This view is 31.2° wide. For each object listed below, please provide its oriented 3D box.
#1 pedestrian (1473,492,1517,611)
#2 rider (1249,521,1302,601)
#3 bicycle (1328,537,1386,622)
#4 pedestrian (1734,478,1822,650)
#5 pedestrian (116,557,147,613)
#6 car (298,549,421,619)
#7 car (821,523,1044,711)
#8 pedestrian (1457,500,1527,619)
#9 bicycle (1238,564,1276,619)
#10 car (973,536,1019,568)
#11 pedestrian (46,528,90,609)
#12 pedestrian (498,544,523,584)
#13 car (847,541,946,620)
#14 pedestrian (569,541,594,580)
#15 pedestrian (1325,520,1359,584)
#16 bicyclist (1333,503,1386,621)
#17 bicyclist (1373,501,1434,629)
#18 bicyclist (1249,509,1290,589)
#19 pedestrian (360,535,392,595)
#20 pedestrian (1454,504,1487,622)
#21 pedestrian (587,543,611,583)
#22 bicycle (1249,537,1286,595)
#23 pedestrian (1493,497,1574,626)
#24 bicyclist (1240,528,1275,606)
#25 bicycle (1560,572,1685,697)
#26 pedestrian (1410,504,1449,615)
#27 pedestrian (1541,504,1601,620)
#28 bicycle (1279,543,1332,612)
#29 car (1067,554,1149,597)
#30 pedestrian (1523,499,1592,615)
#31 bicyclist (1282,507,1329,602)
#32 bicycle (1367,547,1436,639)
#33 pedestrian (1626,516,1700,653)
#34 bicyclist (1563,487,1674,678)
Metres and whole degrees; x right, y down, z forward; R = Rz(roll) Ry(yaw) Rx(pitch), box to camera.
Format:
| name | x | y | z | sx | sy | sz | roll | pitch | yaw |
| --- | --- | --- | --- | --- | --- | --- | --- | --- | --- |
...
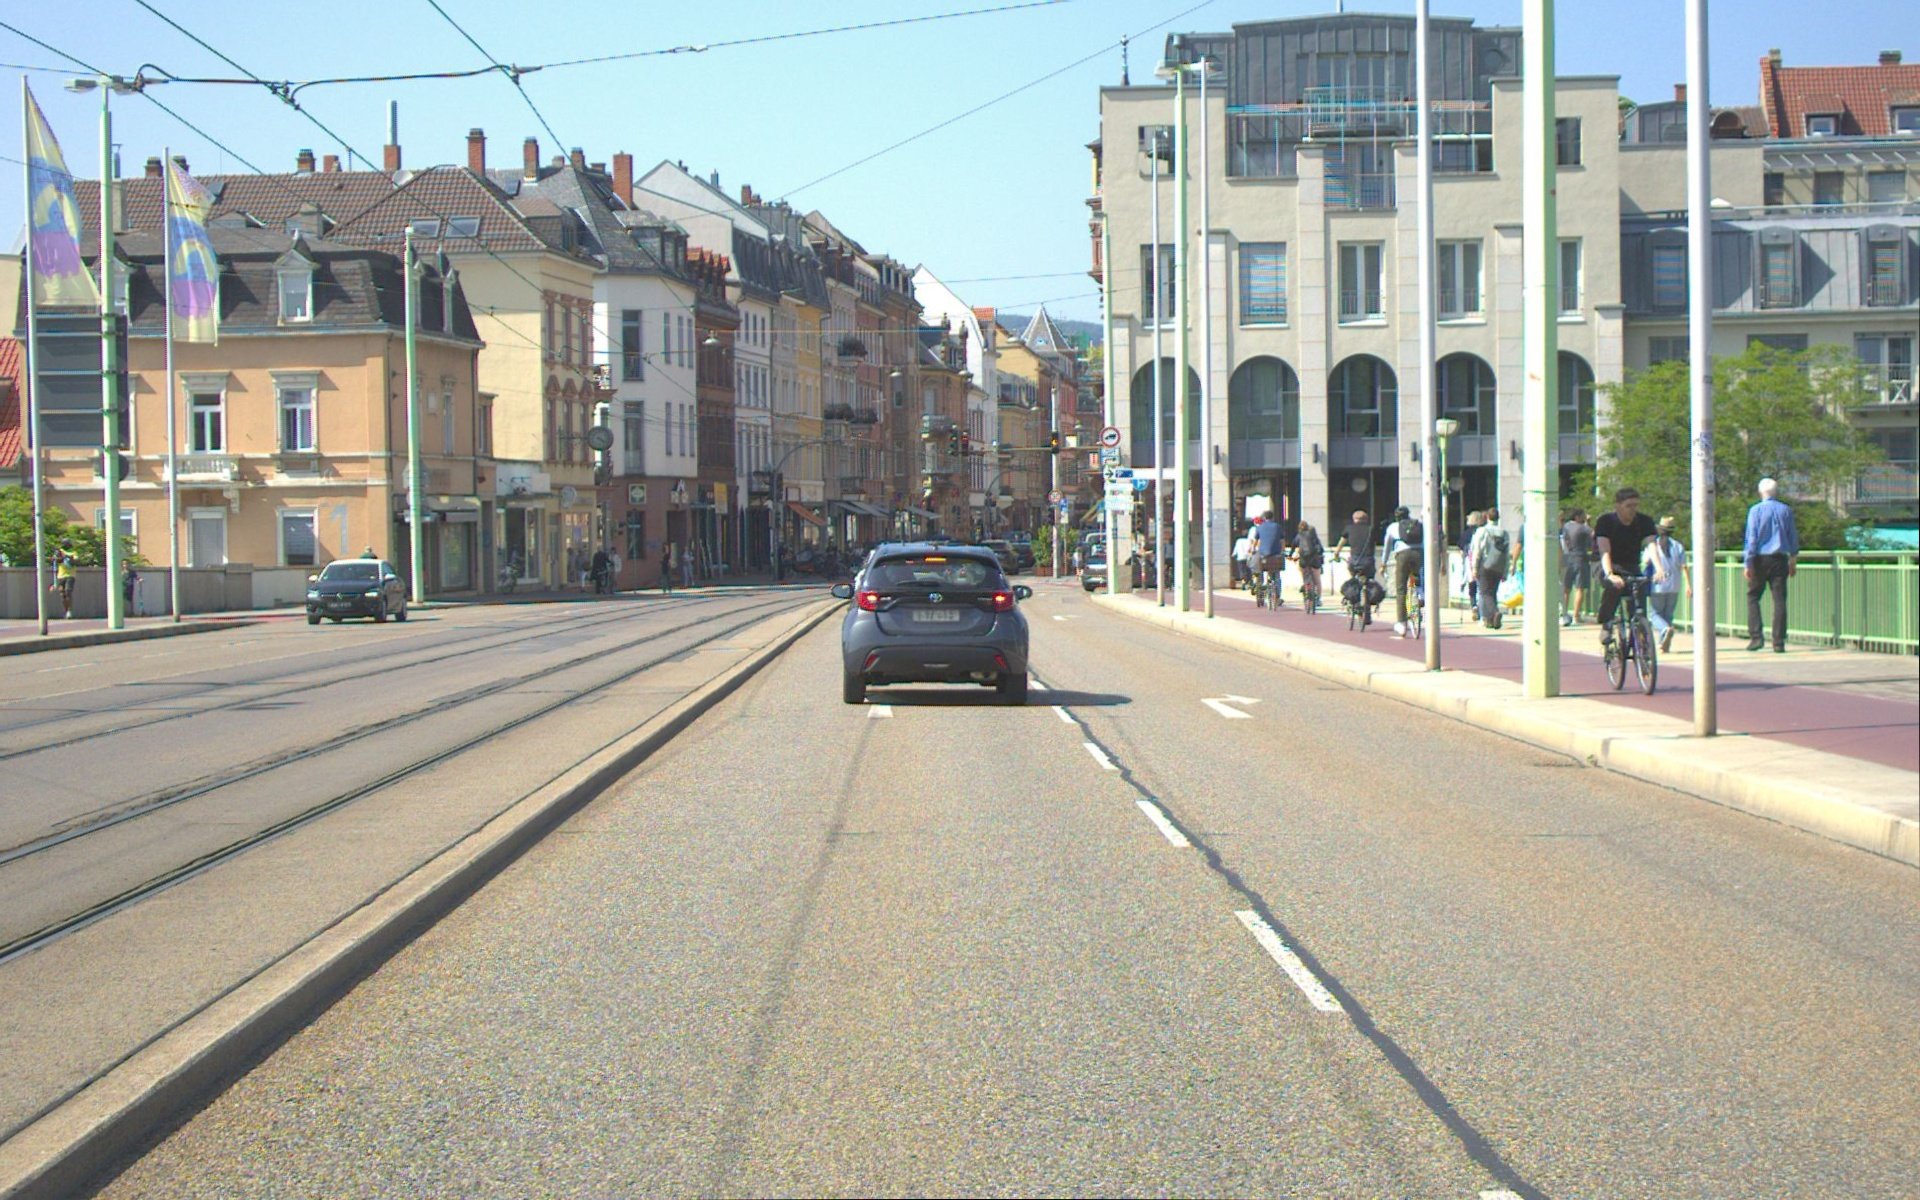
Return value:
| name | x | y | z | sx | sy | sz | roll | pitch | yaw |
| --- | --- | --- | --- | --- | --- | --- | --- | --- | --- |
| pedestrian | 7.901 | -0.720 | 50.768 | 0.528 | 1.742 | 0.728 | 0 | 1 | -1 |
| rider | 5.975 | -0.738 | 65.155 | 0.889 | 1.499 | 0.841 | -1 | 1 | -2 |
| bicycle | 5.726 | -0.309 | 49.636 | 0.526 | 1.174 | 2.029 | -1 | 2 | -2 |
| pedestrian | 8.700 | -0.389 | 36.585 | 0.712 | 1.804 | 0.848 | -1 | 1 | -1 |
| pedestrian | -19.474 | -0.350 | 80.792 | 0.573 | 1.300 | 0.543 | -1 | 1 | 2 |
| car | -13.583 | -0.376 | 77.941 | 1.993 | 1.474 | 4.000 | -1 | 2 | 1 |
| car | -0.329 | 0.109 | 33.370 | 1.910 | 1.535 | 4.001 | -3 | 2 | -3 |
| pedestrian | 7.590 | -0.585 | 49.075 | 0.834 | 1.683 | 0.869 | -1 | 1 | -1 |
| bicycle | 5.955 | -0.180 | 68.940 | 0.666 | 1.046 | 2.029 | -1 | 2 | 3 |
| car | 1.686 | -2.248 | 160.917 | 1.878 | 1.404 | 4.000 | 0 | 2 | 5 |
| pedestrian | -19.659 | -0.698 | 75.801 | 0.763 | 1.780 | 0.663 | -1 | 1 | 2 |
| pedestrian | -15.899 | -1.278 | 121.639 | 0.763 | 1.393 | 0.663 | -1 | 1 | 2 |
| car | -1.311 | -0.412 | 69.530 | 1.803 | 1.464 | 4.001 | -2 | 1 | -3 |
| pedestrian | -13.642 | -1.433 | 123.918 | 0.763 | 1.393 | 0.663 | -1 | 1 | 2 |
| pedestrian | 8.640 | -1.085 | 77.711 | 0.656 | 1.446 | 0.644 | -1 | 1 | -4 |
| bicyclist | 5.763 | -0.550 | 49.657 | 0.627 | 1.683 | 0.869 | -1 | 1 | -2 |
| bicyclist | 5.867 | -0.471 | 45.556 | 0.656 | 1.670 | 0.869 | -1 | 1 | -2 |
| bicyclist | 6.501 | -1.076 | 72.273 | 0.796 | 1.670 | 0.869 | -1 | 1 | 2 |
| pedestrian | -16.421 | -0.996 | 96.700 | 0.763 | 1.659 | 0.663 | -1 | 1 | 2 |
| pedestrian | 7.797 | -0.564 | 52.553 | 0.367 | 1.788 | 0.604 | 1 | 1 | -1 |
| pedestrian | -12.795 | -1.306 | 121.911 | 0.763 | 1.393 | 0.663 | -1 | 1 | 2 |
| bicycle | 6.470 | -0.720 | 72.431 | 0.666 | 1.174 | 2.029 | -1 | 2 | 3 |
| pedestrian | 7.908 | -0.540 | 47.436 | 0.929 | 1.755 | 0.938 | -1 | 1 | -1 |
| bicyclist | 5.963 | -0.666 | 68.988 | 0.651 | 1.524 | 0.975 | -1 | 1 | 3 |
| bicycle | 5.598 | 0.274 | 29.149 | 0.653 | 0.978 | 2.178 | -2 | 1 | 2 |
| pedestrian | 7.164 | -0.619 | 52.465 | 0.426 | 1.666 | 0.620 | 2 | 1 | -1 |
| pedestrian | 8.781 | -0.552 | 49.433 | 0.712 | 1.645 | 0.848 | -1 | 1 | 0 |
| bicycle | 6.177 | -0.414 | 61.461 | 0.666 | 1.174 | 2.029 | -1 | 2 | -2 |
| car | 5.567 | -0.927 | 128.706 | 1.806 | 1.464 | 3.996 | -2 | 1 | 22 |
| pedestrian | 8.751 | -0.633 | 50.363 | 0.834 | 1.683 | 0.869 | -1 | 1 | -1 |
| bicyclist | 6.171 | -0.815 | 61.460 | 0.715 | 1.670 | 0.869 | -1 | 1 | -2 |
| bicycle | 5.867 | -0.104 | 45.718 | 0.593 | 1.174 | 1.940 | -1 | 2 | -2 |
| pedestrian | 7.648 | -0.179 | 37.436 | 0.613 | 1.460 | 0.848 | -1 | 1 | -1 |
| bicyclist | 5.581 | -0.152 | 29.194 | 0.653 | 1.561 | 1.338 | -2 | 1 | 2 |
